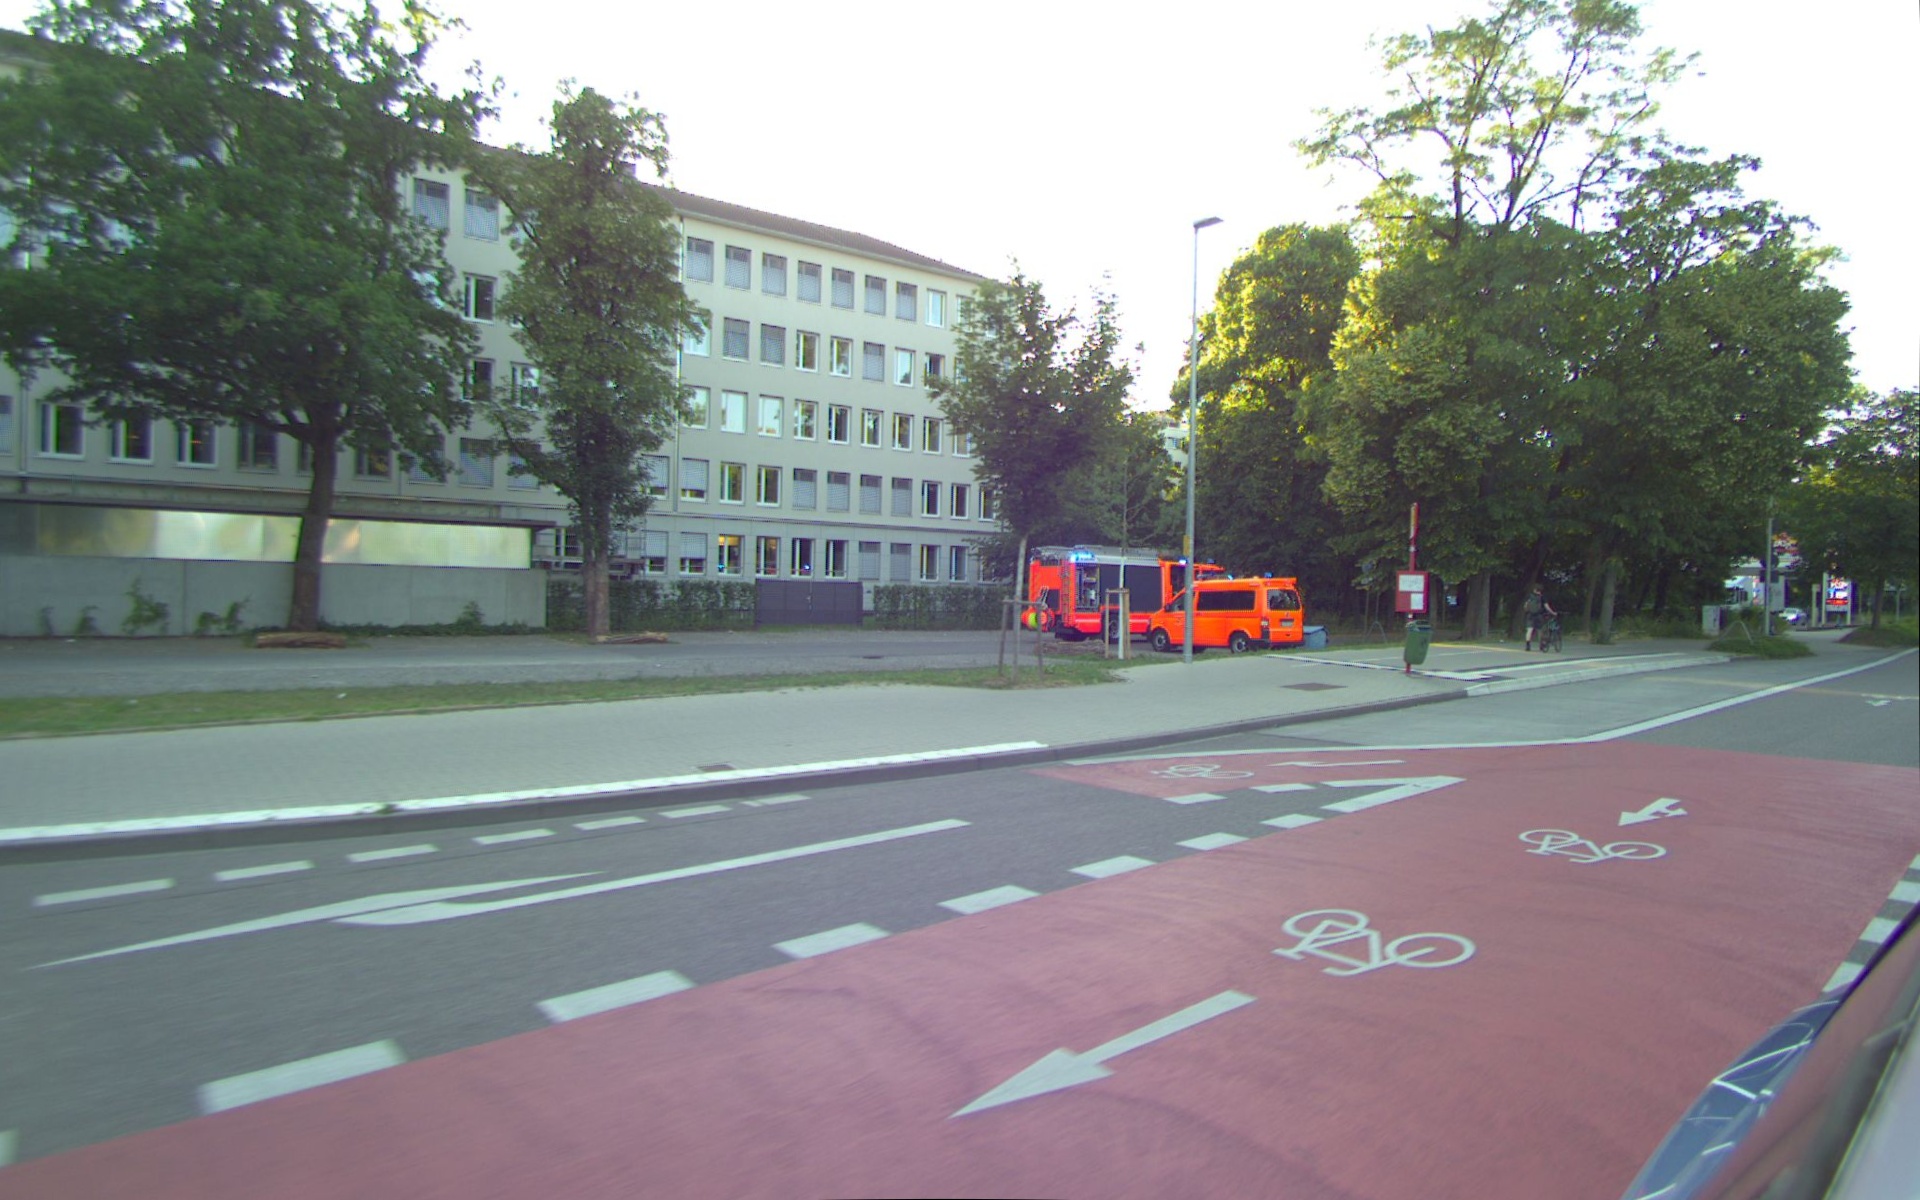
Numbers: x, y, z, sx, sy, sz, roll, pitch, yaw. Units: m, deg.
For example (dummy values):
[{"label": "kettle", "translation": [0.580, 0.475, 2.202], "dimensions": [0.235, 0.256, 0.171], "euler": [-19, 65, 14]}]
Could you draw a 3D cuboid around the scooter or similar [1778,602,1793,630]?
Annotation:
[{"label": "scooter or similar", "translation": [39.894, 0.765, 48.910], "dimensions": [0.482, 1.298, 1.122], "euler": [3, 2, 42]}]

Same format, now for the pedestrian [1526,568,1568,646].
[{"label": "pedestrian", "translation": [15.504, 0.174, 26.743], "dimensions": [0.683, 2.038, 0.724], "euler": [1, 1, -42]}]

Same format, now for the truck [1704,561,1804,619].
[{"label": "truck", "translation": [56.435, -0.632, 71.661], "dimensions": [15.617, 3.776, 3.222], "euler": [0, 0, -43]}]

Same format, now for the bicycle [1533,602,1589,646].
[{"label": "bicycle", "translation": [15.924, 0.608, 26.804], "dimensions": [0.831, 1.111, 1.937], "euler": [2, 1, 45]}]

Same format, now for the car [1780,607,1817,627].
[{"label": "car", "translation": [71.318, 1.436, 86.019], "dimensions": [4.634, 1.611, 1.994], "euler": [0, 0, -45]}]

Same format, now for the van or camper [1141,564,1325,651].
[{"label": "van or camper", "translation": [7.699, 0.182, 29.028], "dimensions": [2.250, 2.273, 4.831], "euler": [0, 0, -33]}]

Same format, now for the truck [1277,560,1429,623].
[{"label": "truck", "translation": [21.910, -0.508, 57.046], "dimensions": [2.703, 3.251, 8.682], "euler": [1, 1, -22]}]

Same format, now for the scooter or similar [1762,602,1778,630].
[{"label": "scooter or similar", "translation": [38.563, 0.743, 48.179], "dimensions": [0.482, 1.298, 1.212], "euler": [3, 2, 42]}]

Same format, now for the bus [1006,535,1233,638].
[{"label": "bus", "translation": [5.670, -0.418, 35.340], "dimensions": [7.808, 3.236, 2.999], "euler": [0, 0, -32]}]
